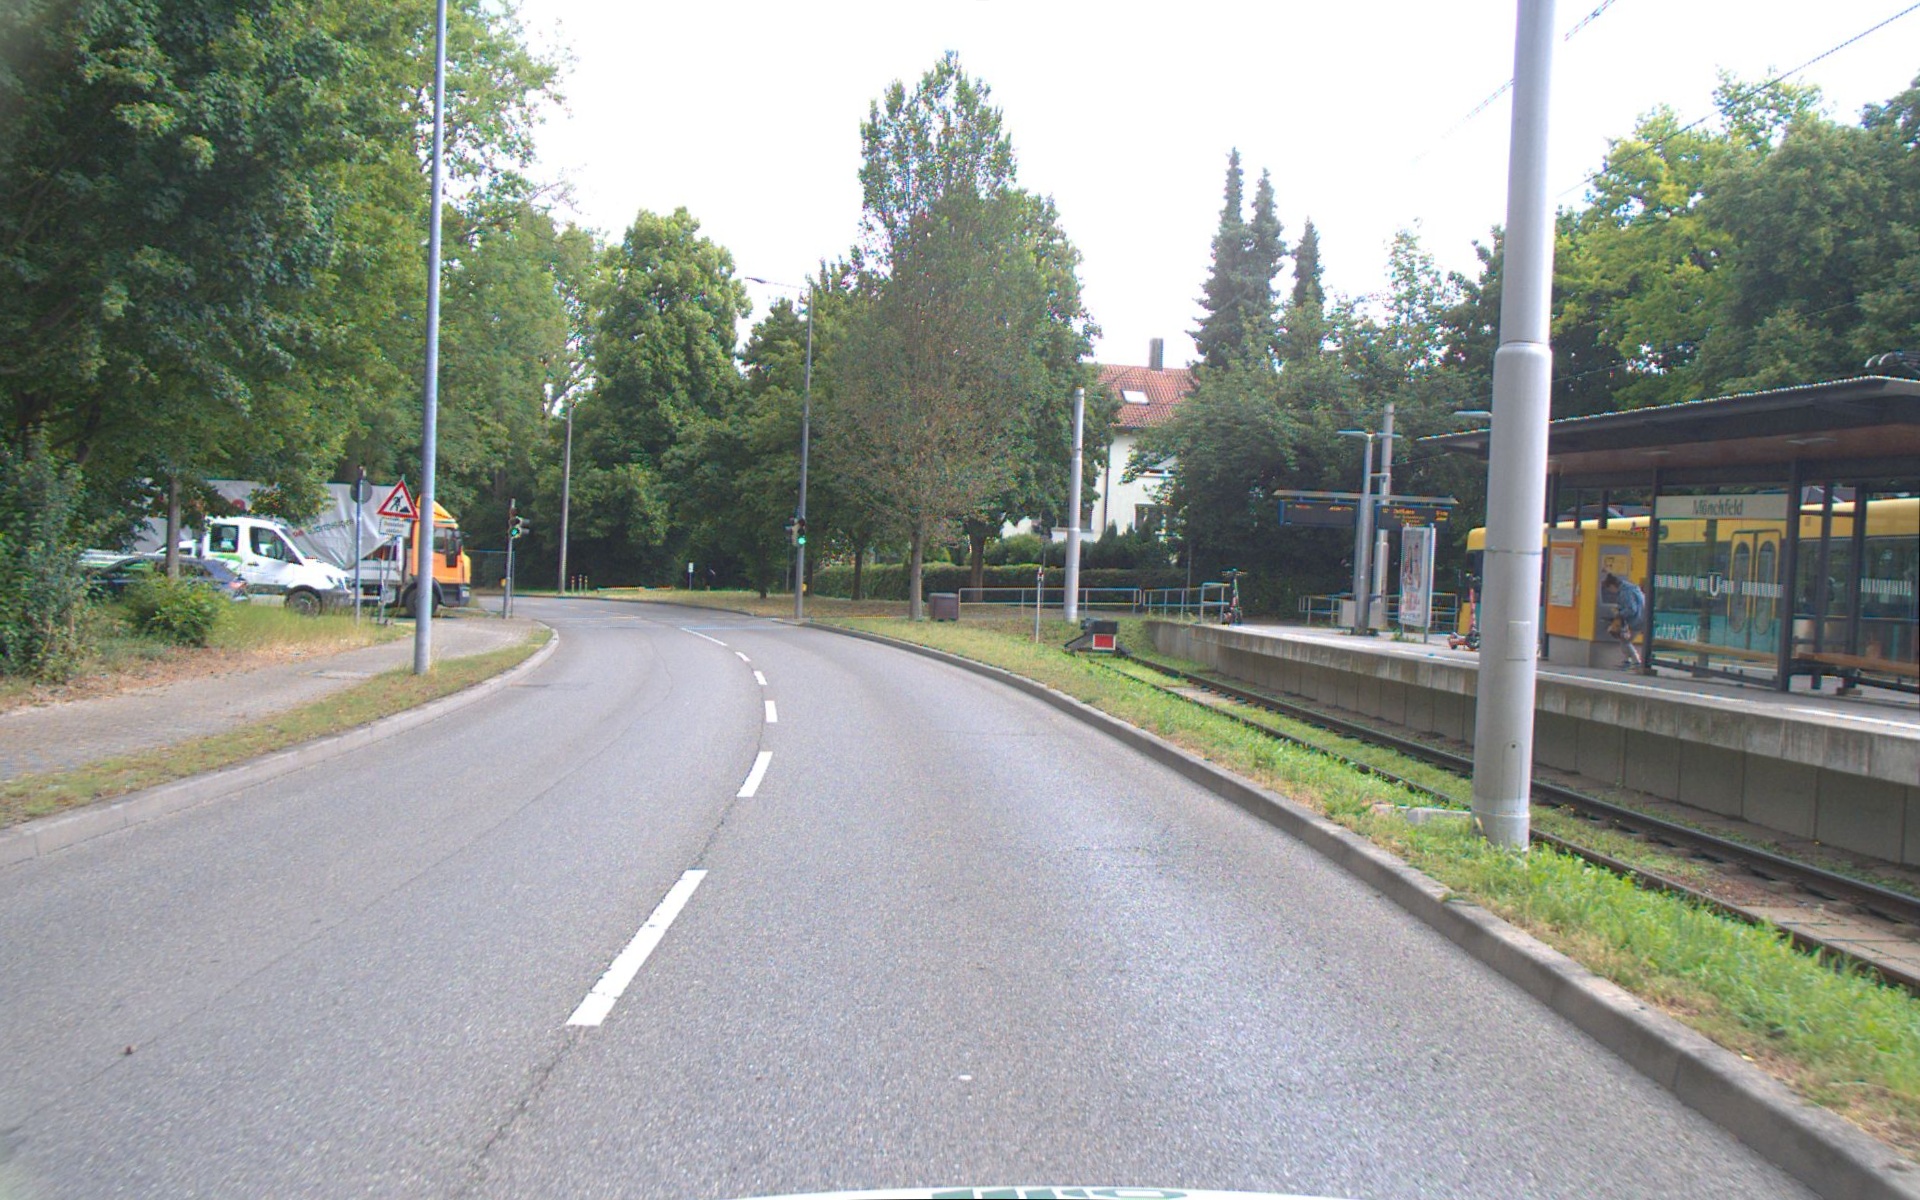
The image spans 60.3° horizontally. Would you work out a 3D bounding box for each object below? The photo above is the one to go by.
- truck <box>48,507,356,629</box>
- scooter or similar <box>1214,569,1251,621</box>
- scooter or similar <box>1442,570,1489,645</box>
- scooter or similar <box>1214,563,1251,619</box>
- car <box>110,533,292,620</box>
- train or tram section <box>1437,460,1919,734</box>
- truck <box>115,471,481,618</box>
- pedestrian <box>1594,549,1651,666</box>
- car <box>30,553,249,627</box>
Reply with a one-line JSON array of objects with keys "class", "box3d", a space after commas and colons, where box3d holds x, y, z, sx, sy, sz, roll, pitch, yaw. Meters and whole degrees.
[{"class": "truck", "box3d": [-17.661, -0.703, 38.973, 6.291, 2.458, 2.111, 3, -1, -20]}, {"class": "scooter or similar", "box3d": [6.756, -0.111, 41.049, 0.423, 1.275, 1.249, 1, -1, -15]}, {"class": "scooter or similar", "box3d": [8.800, 0.119, 28.837, 0.361, 1.264, 1.145, 2, 1, -4]}, {"class": "scooter or similar", "box3d": [6.348, -0.190, 38.564, 0.422, 1.275, 1.251, 1, -1, -12]}, {"class": "car", "box3d": [-19.161, -0.597, 41.915, 3.927, 1.942, 1.772, 3, 0, -20]}, {"class": "train or tram section", "box3d": [13.638, -0.157, 30.425, 2.758, 3.650, 19.501, 3, 1, -4]}, {"class": "truck", "box3d": [-18.043, -1.452, 45.768, 9.086, 3.593, 2.553, 2, 0, -18]}, {"class": "pedestrian", "box3d": [9.303, 0.096, 23.246, 0.609, 1.600, 0.665, 2, 0, 14]}, {"class": "car", "box3d": [-16.895, -0.173, 34.236, 3.937, 1.350, 1.703, 2, -2, -26]}]
